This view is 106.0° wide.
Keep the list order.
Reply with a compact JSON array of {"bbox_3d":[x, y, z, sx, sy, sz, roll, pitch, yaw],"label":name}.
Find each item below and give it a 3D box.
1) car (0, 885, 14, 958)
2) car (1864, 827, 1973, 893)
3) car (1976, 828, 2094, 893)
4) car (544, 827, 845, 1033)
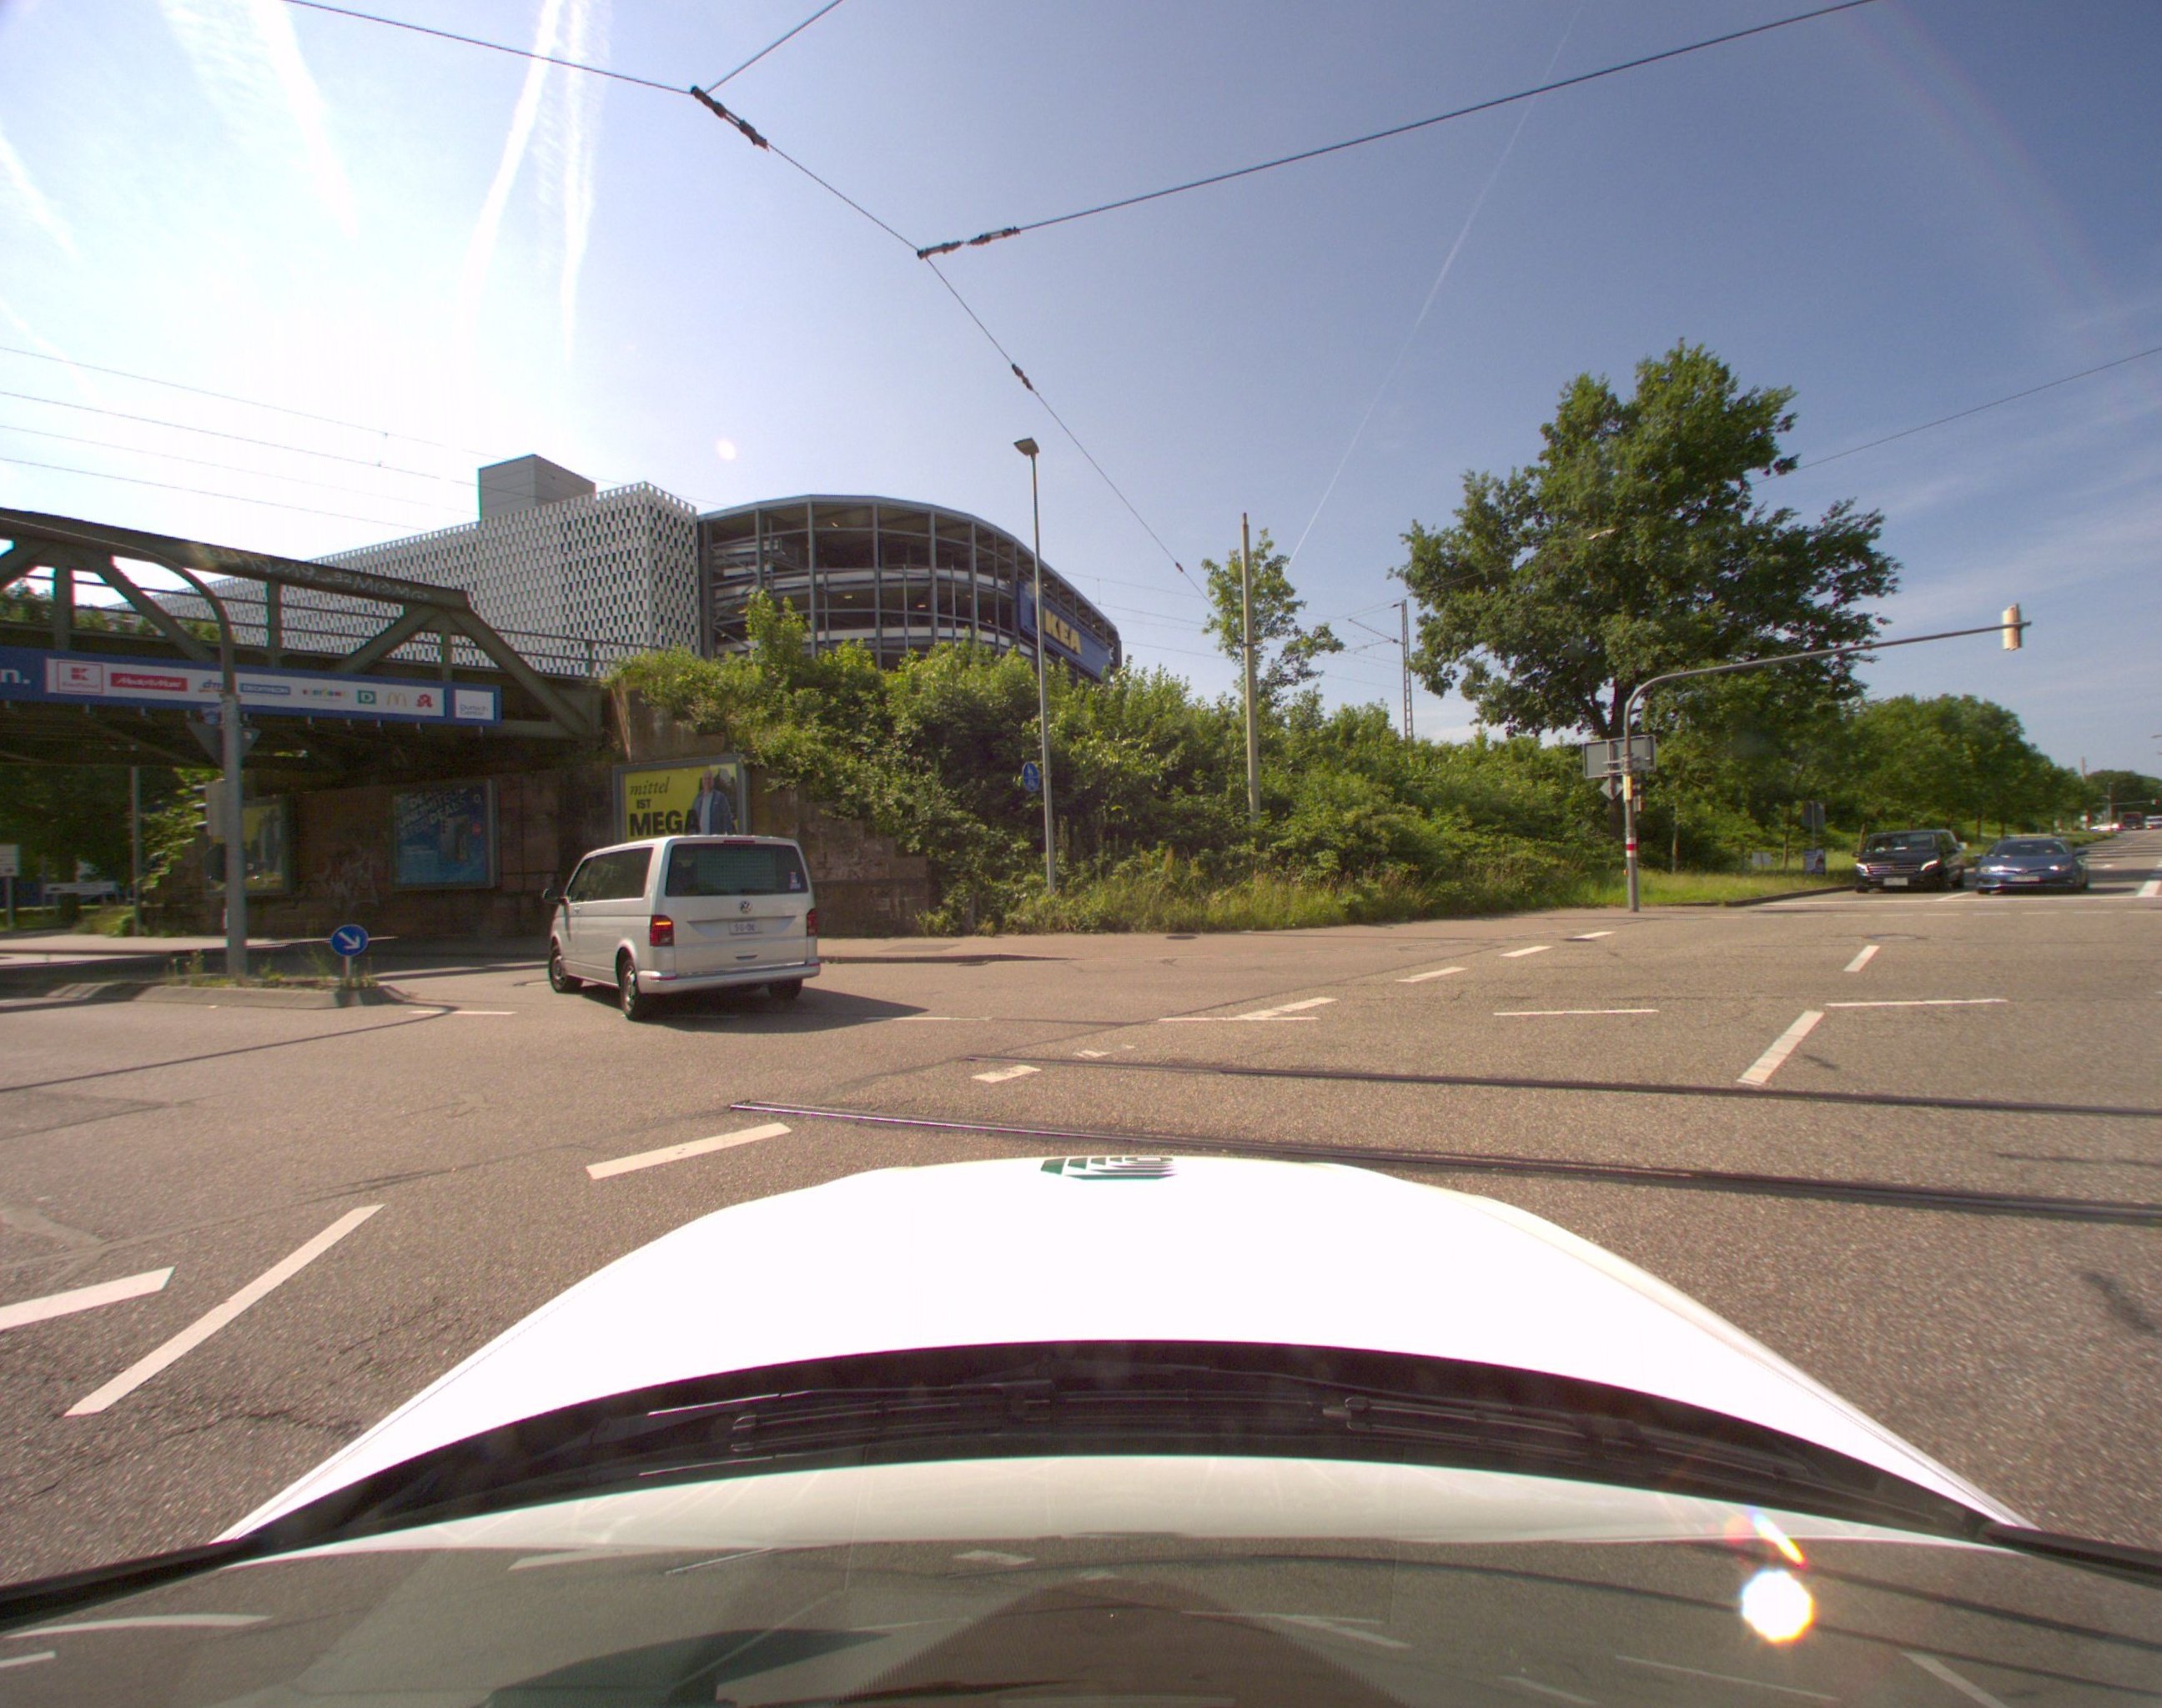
[{"bbox_3d":[-31.011,1.874,21.539,4.509,1.925,1.984,-2,-1,18],"label":"car"},{"bbox_3d":[25.193,0.156,24.469,4.019,1.815,1.834,-1,-1,-38],"label":"car"},{"bbox_3d":[25.318,0.145,21.587,4.019,1.561,1.834,-1,-1,-38],"label":"car"},{"bbox_3d":[-5.088,0.801,10.276,1.959,1.971,4.960,-1,-1,-43],"label":"car"}]
